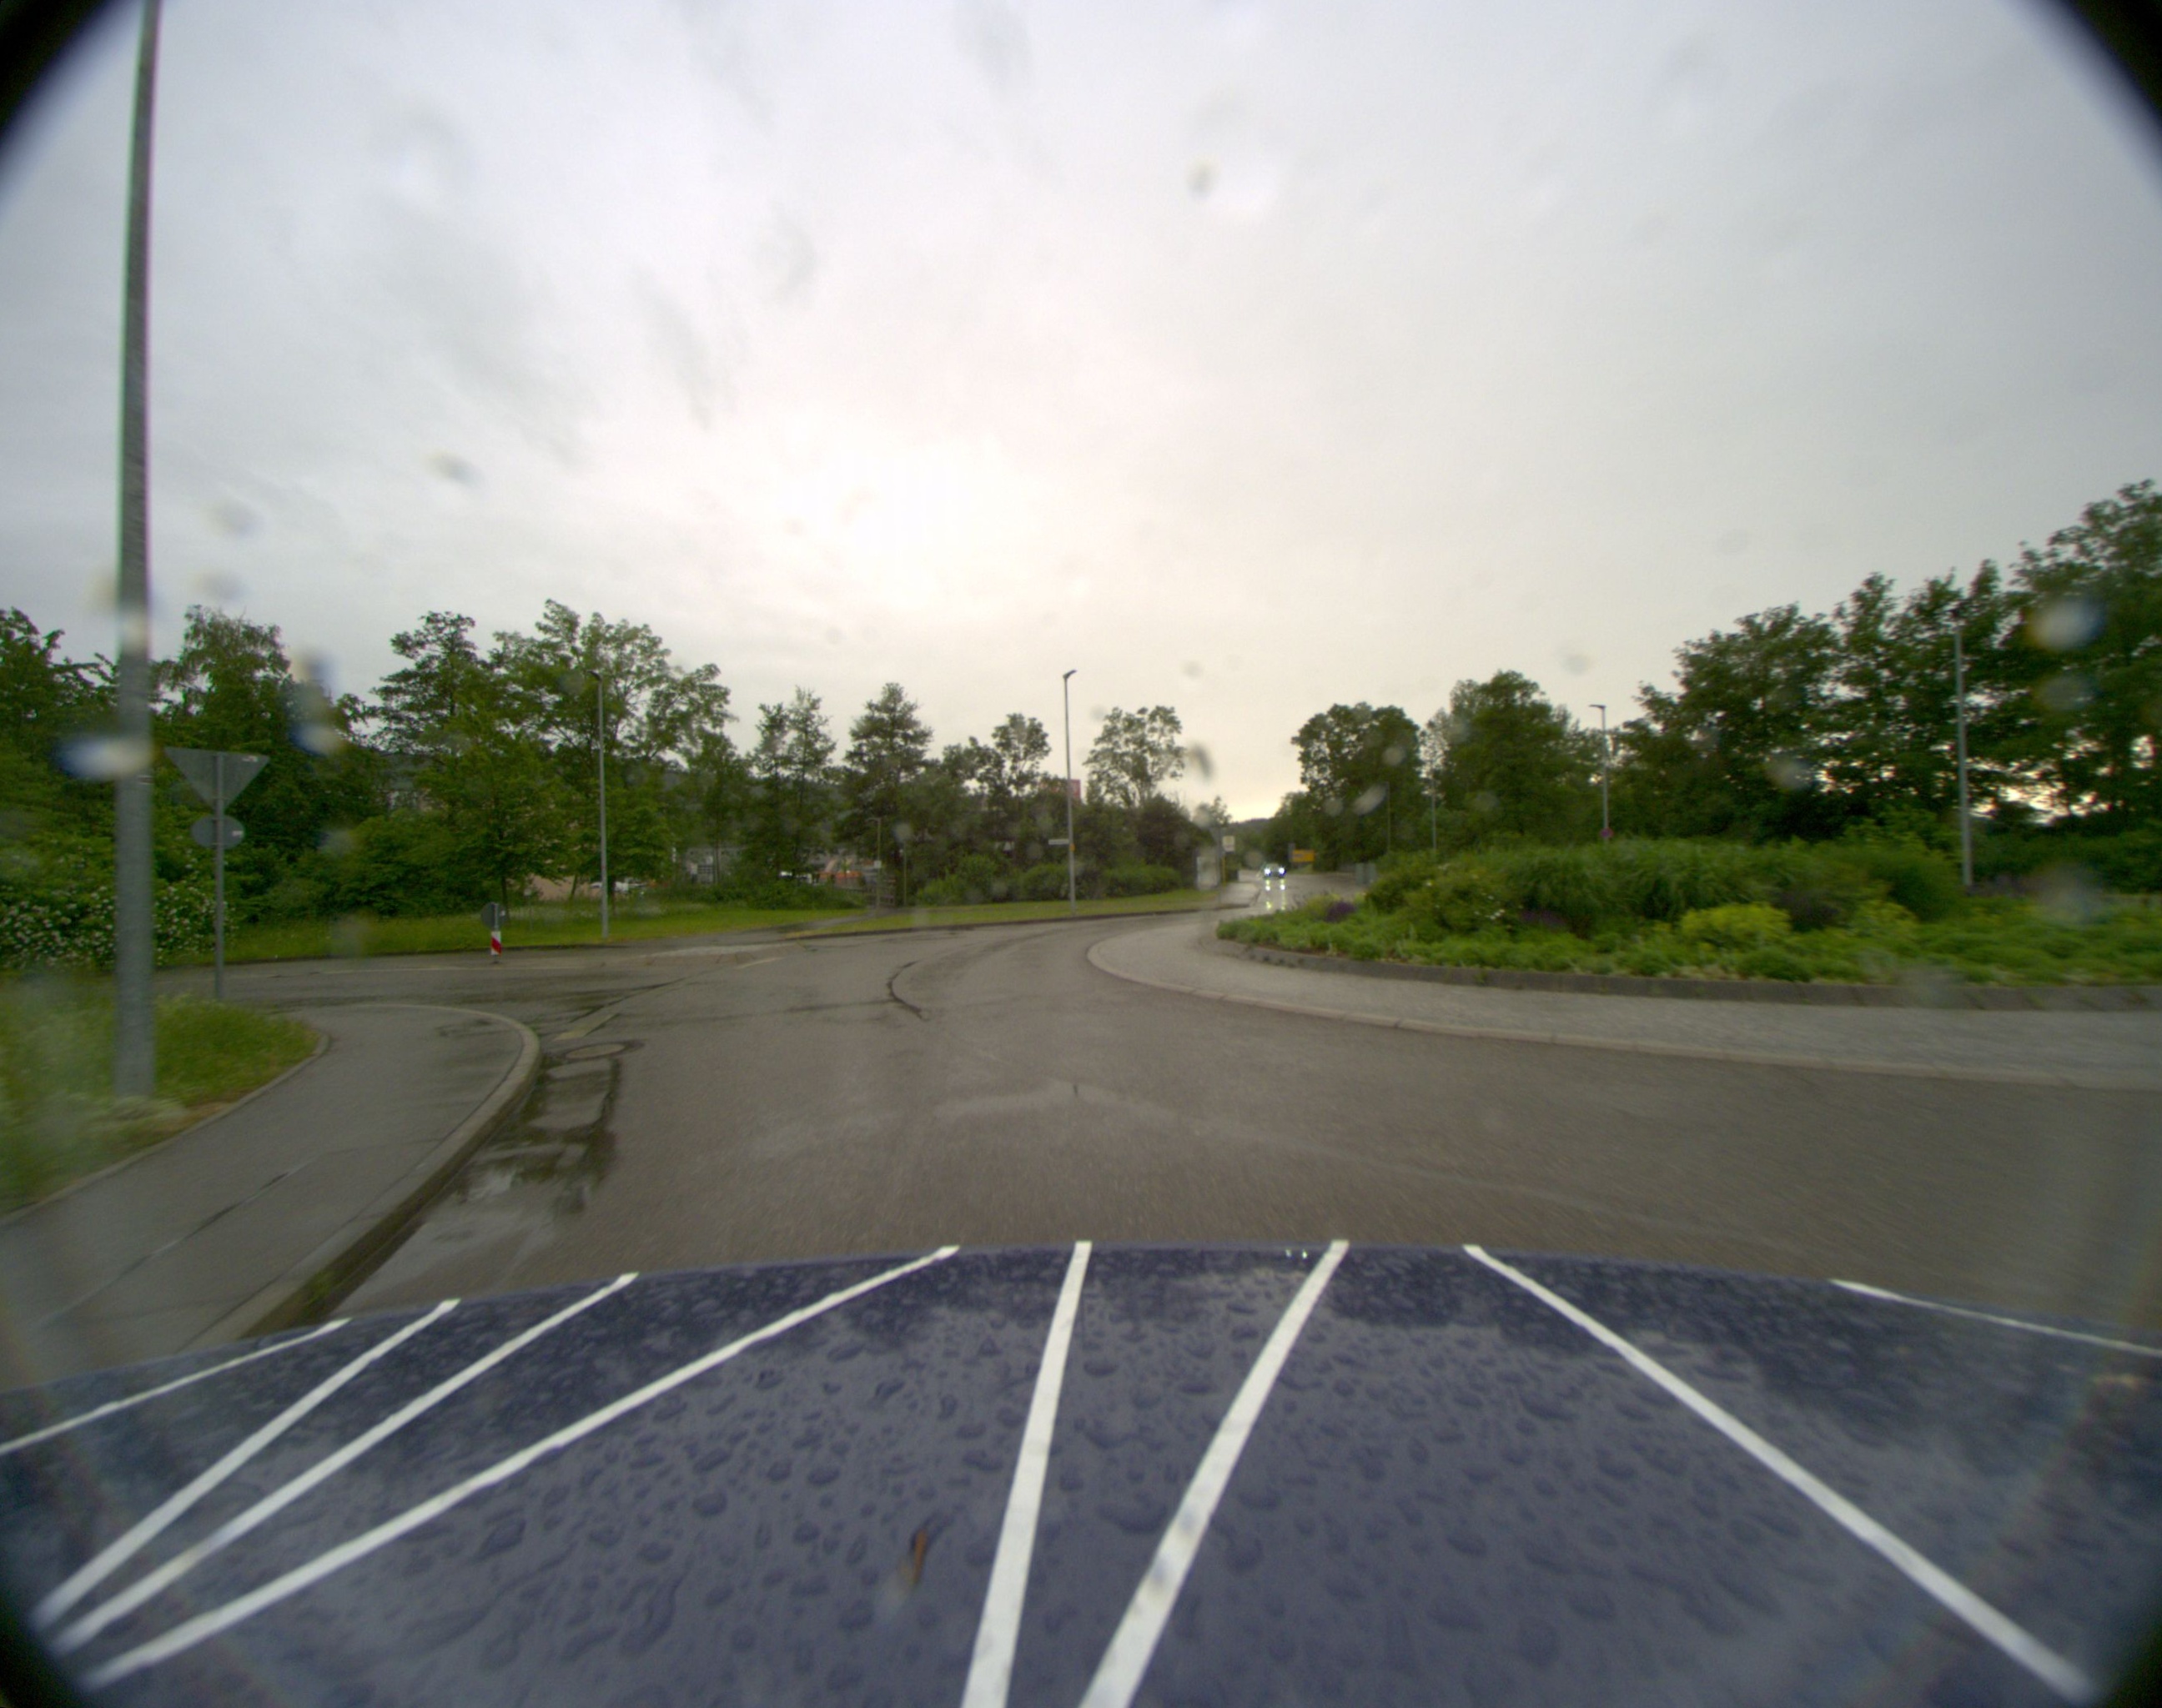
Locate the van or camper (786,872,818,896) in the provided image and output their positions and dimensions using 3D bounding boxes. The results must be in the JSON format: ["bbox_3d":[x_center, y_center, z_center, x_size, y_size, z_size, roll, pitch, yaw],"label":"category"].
[{"bbox_3d":[-26.946,2.849,73.267,2.546,2.230,5.966,1,-2,-23],"label":"van or camper"}]

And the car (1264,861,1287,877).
[{"bbox_3d":[19.232,1.506,75.266,1.854,1.481,4.125,-2,-1,9],"label":"car"}]

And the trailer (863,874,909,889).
[{"bbox_3d":[-29.628,4.181,115.805,6.638,2.002,2.574,-1,0,-12],"label":"trailer"}]
